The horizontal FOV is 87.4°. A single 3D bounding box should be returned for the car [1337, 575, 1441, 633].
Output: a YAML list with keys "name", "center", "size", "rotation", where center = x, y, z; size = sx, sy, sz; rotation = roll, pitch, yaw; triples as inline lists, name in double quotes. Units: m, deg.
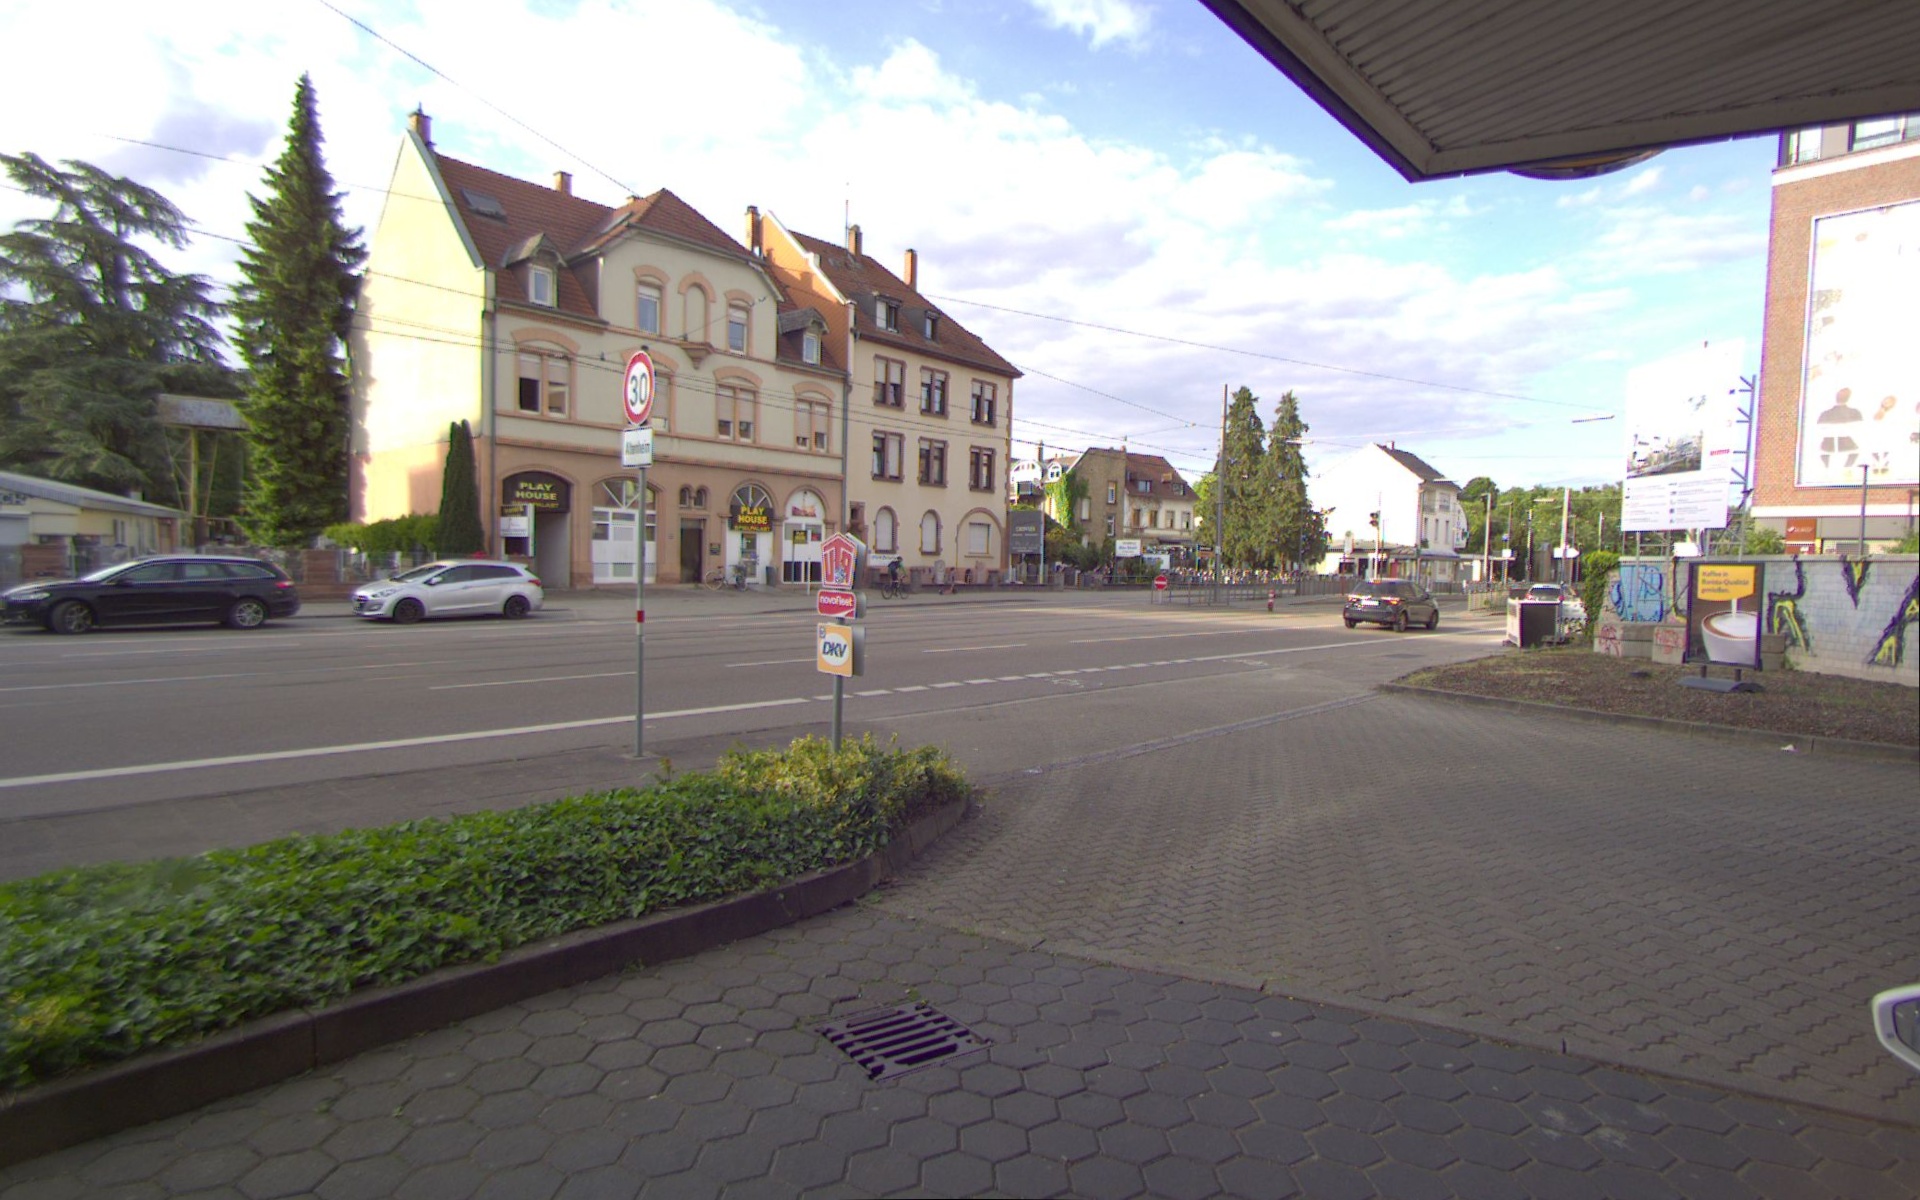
- name: "car"
  center: [13.016, 0.090, 30.406]
  size: [1.649, 1.568, 3.687]
  rotation: [5, 4, 43]

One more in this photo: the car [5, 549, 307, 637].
- name: "car"
  center: [-16.495, -0.174, 20.817]
  size: [1.827, 1.542, 4.642]
  rotation: [5, 4, 40]

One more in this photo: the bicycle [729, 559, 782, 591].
- name: "bicycle"
  center: [-8.255, -1.000, 40.627]
  size: [0.741, 1.219, 2.011]
  rotation: [8, 5, 41]

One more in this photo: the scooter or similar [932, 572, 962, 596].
- name: "scooter or similar"
  center: [-0.574, -0.712, 45.093]
  size: [0.437, 1.006, 1.460]
  rotation: [6, 5, 41]

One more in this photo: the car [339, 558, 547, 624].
- name: "car"
  center: [-12.936, -0.249, 25.356]
  size: [1.718, 1.502, 4.357]
  rotation: [3, 2, 41]

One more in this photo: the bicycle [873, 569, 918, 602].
- name: "bicycle"
  center: [-2.592, -0.591, 40.491]
  size: [0.740, 1.219, 1.813]
  rotation: [7, 6, 39]

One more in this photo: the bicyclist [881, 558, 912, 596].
- name: "bicyclist"
  center: [-2.555, -0.931, 40.501]
  size: [0.740, 1.428, 0.917]
  rotation: [7, 6, 39]

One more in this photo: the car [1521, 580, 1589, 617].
- name: "car"
  center: [25.158, -0.098, 42.406]
  size: [1.649, 1.419, 3.687]
  rotation: [5, 4, 43]
